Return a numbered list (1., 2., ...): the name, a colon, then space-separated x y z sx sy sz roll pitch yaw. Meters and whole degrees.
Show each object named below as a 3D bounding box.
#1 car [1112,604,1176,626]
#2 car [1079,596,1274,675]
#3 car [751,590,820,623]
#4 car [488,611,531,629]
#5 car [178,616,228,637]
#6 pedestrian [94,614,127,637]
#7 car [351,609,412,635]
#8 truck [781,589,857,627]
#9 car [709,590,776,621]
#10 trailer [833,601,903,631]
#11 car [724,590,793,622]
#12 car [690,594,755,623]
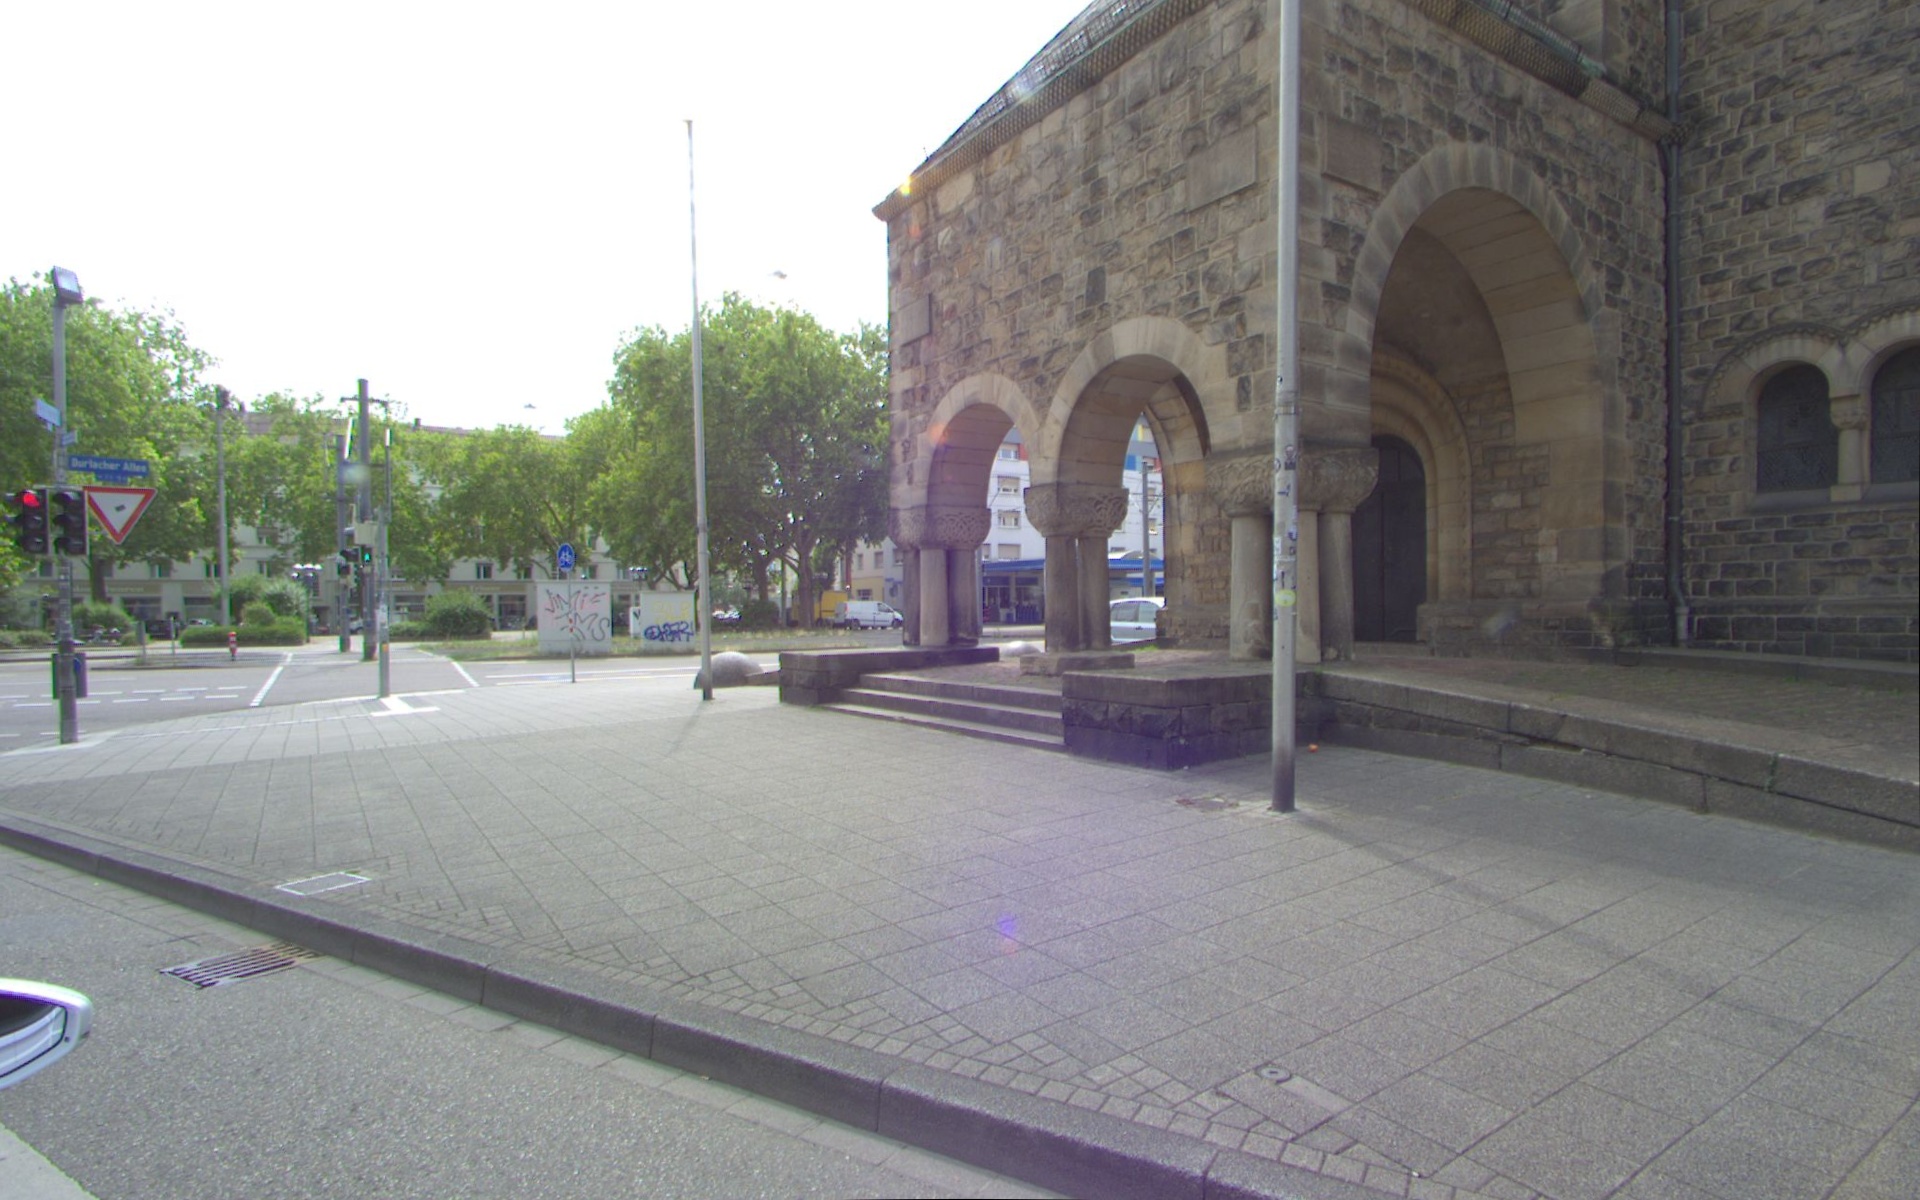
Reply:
1. car: 13.986 1.135 76.079 4.554 1.535 1.985 0 -1 -31
2. car: 4.690 0.727 22.177 1.992 1.563 4.002 0 0 -33
3. car: -14.434 0.557 82.988 5.269 2.618 2.165 0 -1 -36
4. car: -39.383 1.744 87.588 3.949 1.523 1.760 -1 0 37
5. car: -56.958 1.948 75.344 3.949 1.523 1.986 -1 0 37
6. pedestrian: -48.033 1.460 56.591 1.422 1.252 1.087 -1 1 37
7. car: -44.556 1.655 77.143 3.946 1.908 1.846 -1 0 -34
8. truck: -10.441 0.583 73.853 3.040 2.612 6.468 -1 0 -34
9. car: -19.195 0.519 88.420 5.269 2.618 2.482 0 -1 -36
10. trailer: -6.198 1.036 67.610 4.377 1.951 1.843 0 0 -33
11. car: -17.292 0.515 86.192 5.269 2.618 2.482 0 -1 -36
12. car: -21.992 0.803 92.688 5.269 2.618 2.482 0 -1 -36
